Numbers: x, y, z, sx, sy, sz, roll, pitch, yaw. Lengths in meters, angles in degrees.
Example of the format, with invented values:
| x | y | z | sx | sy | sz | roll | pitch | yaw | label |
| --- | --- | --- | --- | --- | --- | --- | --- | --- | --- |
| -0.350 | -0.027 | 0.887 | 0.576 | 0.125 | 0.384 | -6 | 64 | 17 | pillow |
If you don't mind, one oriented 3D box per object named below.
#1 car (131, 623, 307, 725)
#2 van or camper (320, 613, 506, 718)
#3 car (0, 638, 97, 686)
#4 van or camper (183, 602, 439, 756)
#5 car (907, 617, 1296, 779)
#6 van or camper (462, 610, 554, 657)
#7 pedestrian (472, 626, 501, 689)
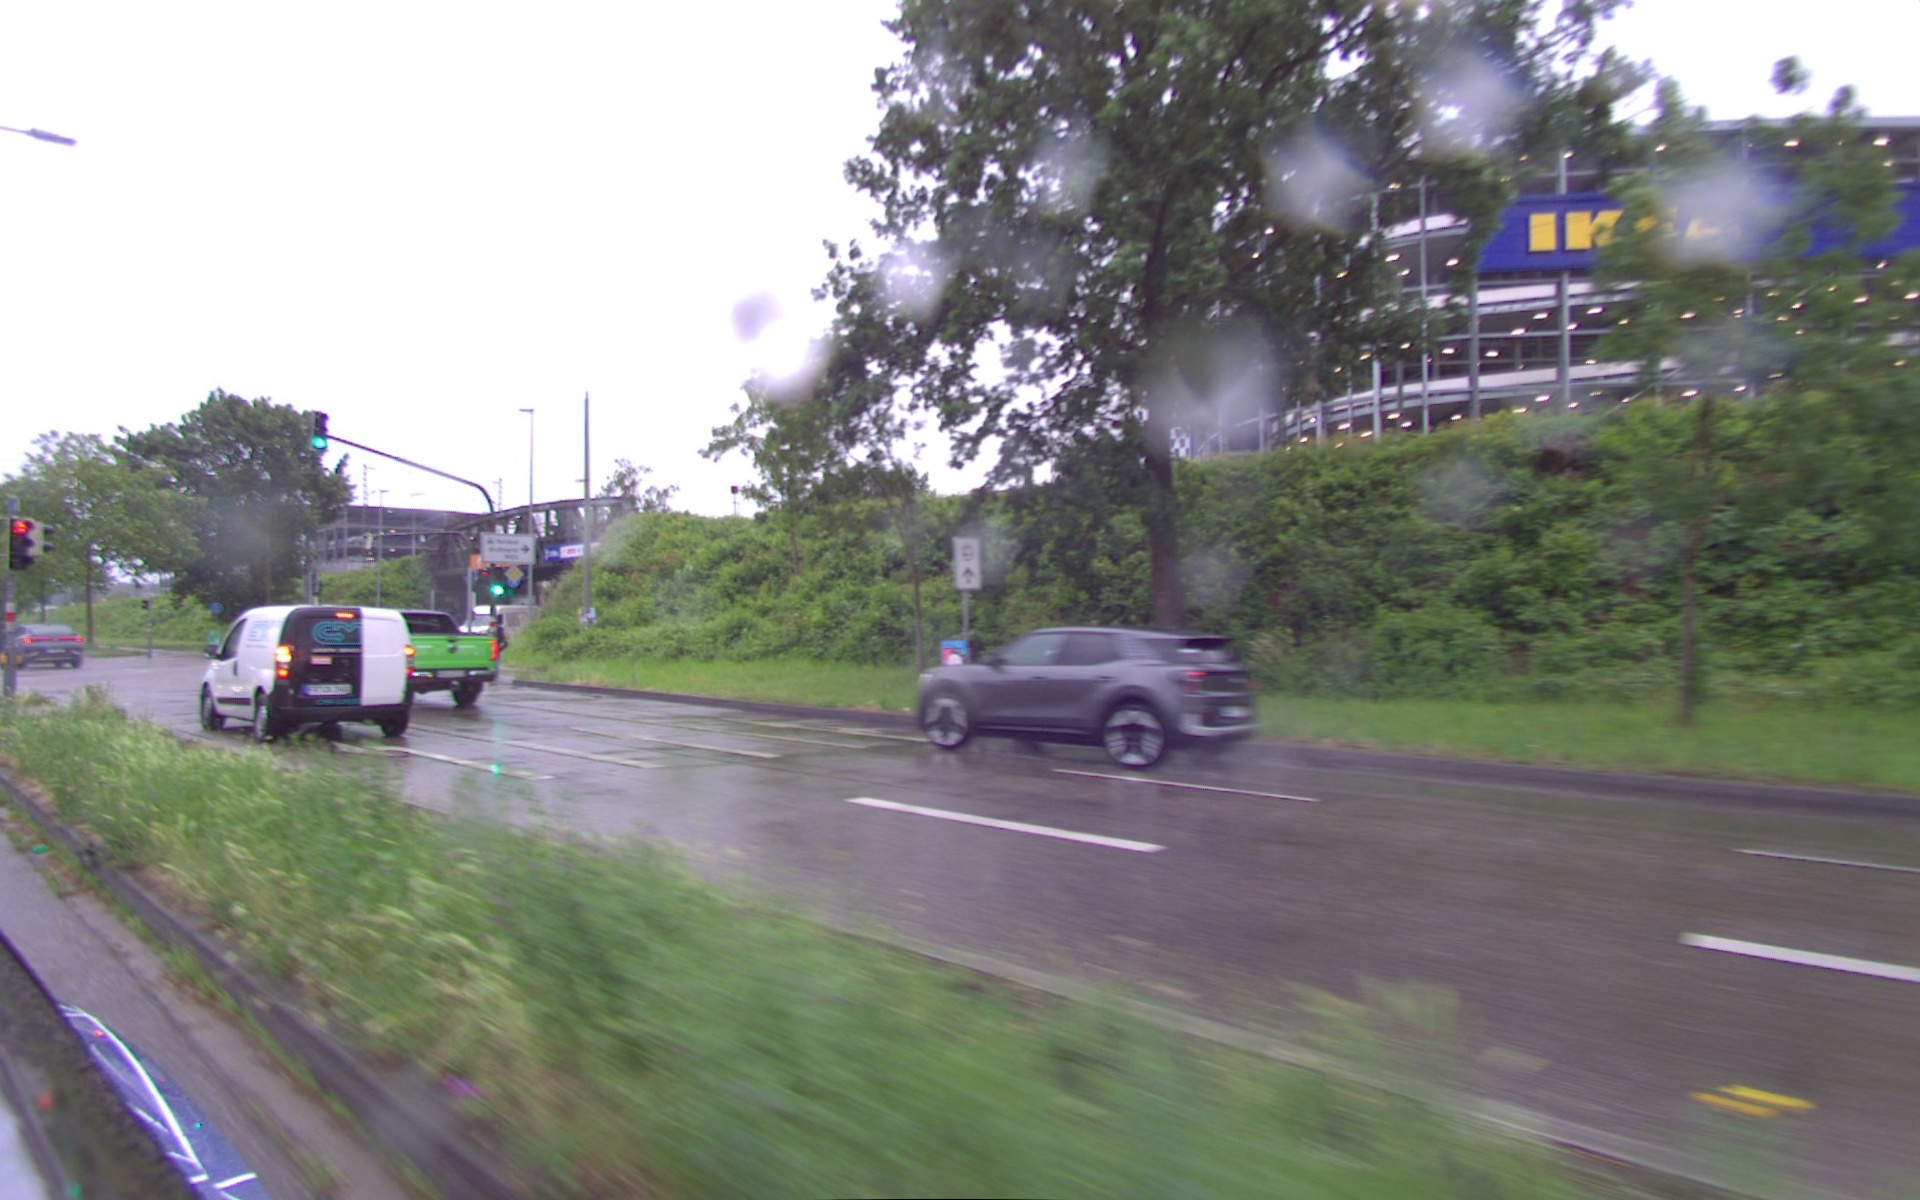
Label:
| x | y | z | sx | sy | sz | roll | pitch | yaw | label |
| --- | --- | --- | --- | --- | --- | --- | --- | --- | --- |
| -13.177 | 1.227 | 17.917 | 3.772 | 1.573 | 1.757 | -2 | -1 | 42 | car |
| -10.542 | 1.198 | 19.387 | 4.217 | 1.798 | 1.683 | -2 | -3 | 40 | van or camper |
| -33.072 | 2.181 | 36.446 | 4.377 | 1.614 | 1.954 | -1 | -2 | 35 | car |
| -8.718 | 0.984 | 13.481 | 3.997 | 1.755 | 1.711 | -2 | -4 | 40 | van or camper |
| 1.591 | 1.053 | 12.355 | 4.402 | 1.625 | 1.879 | -2 | -2 | 40 | car |
| -27.331 | 1.991 | 61.509 | 1.975 | 2.682 | 6.917 | 0 | -1 | 5 | van or camper |
| -13.762 | 1.653 | 29.397 | 0.625 | 1.801 | 0.480 | -1 | -2 | 33 | pedestrian |
